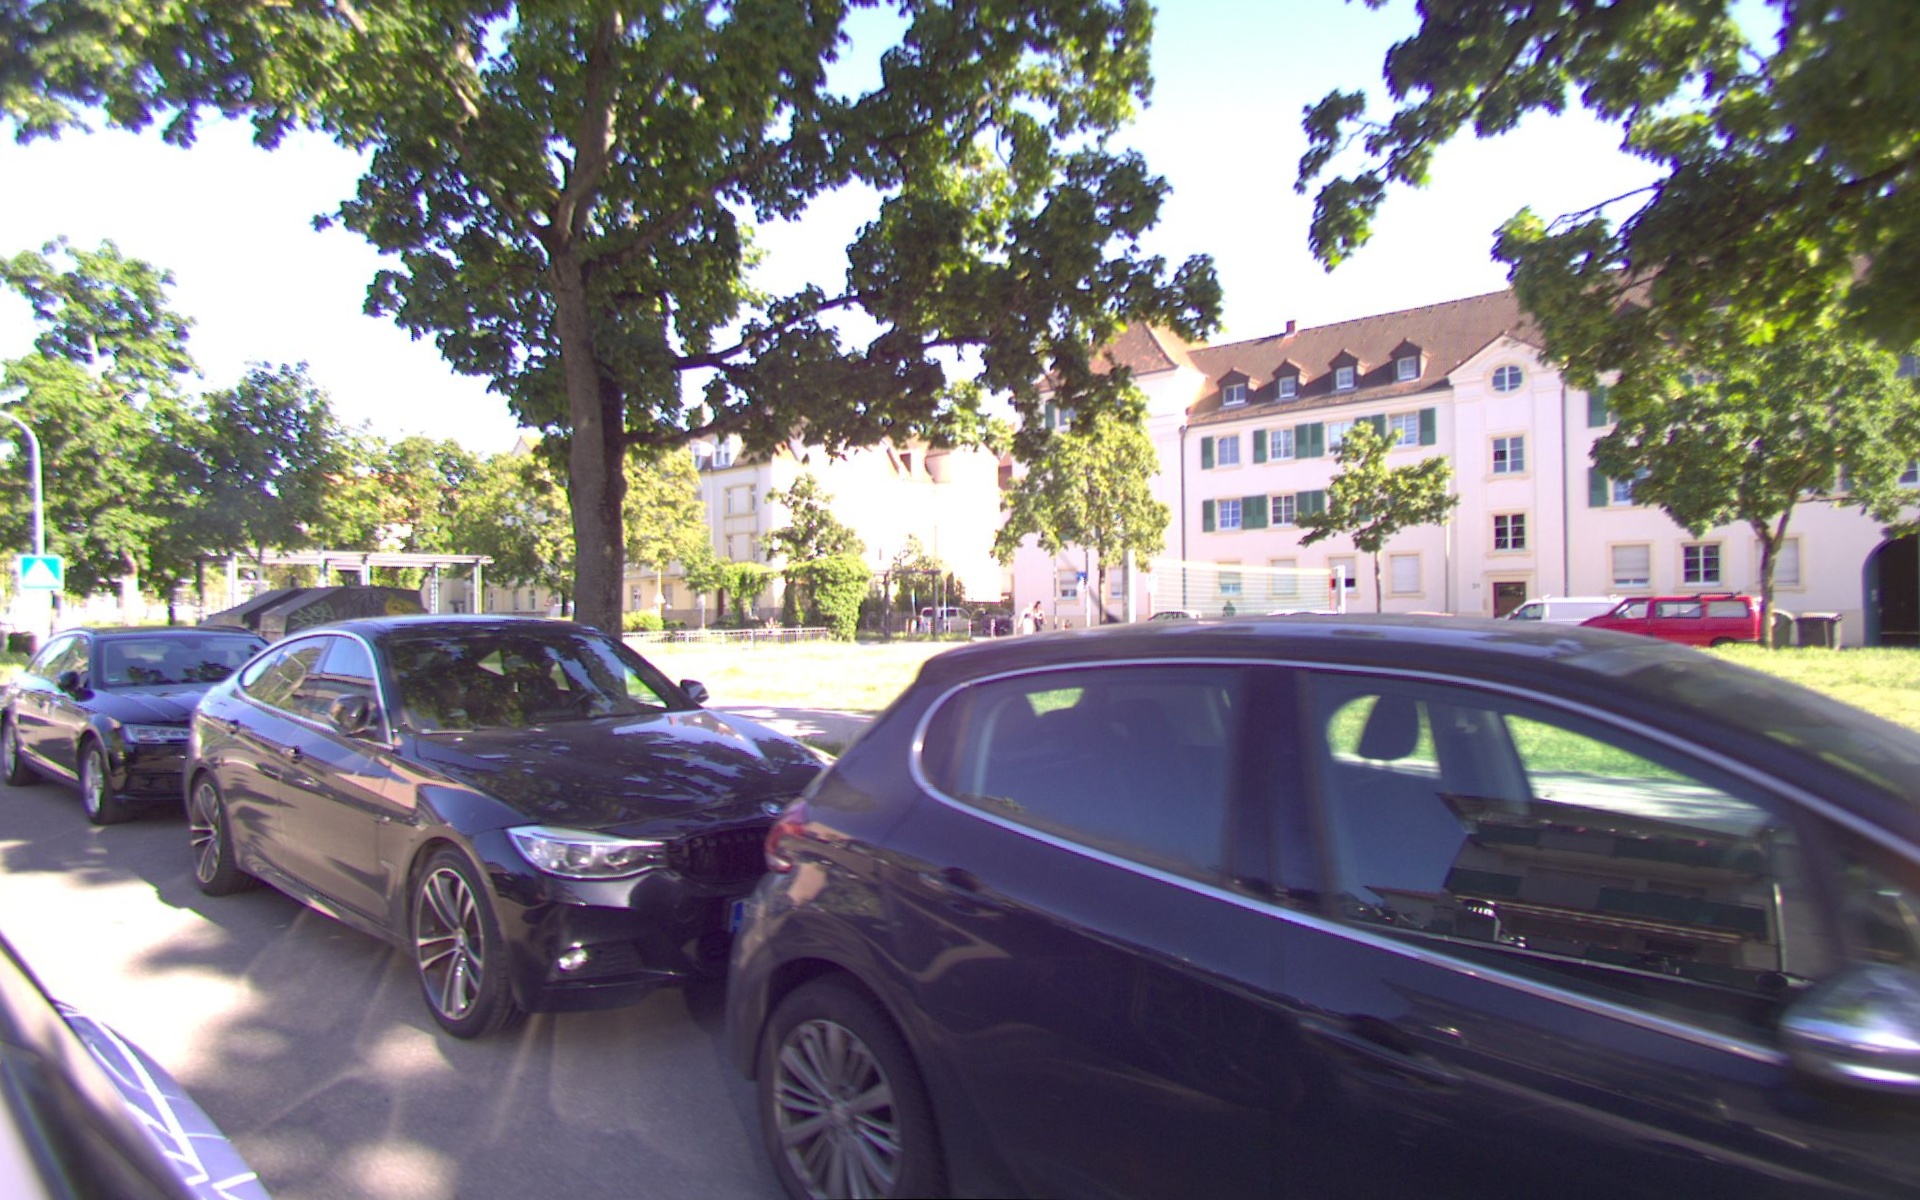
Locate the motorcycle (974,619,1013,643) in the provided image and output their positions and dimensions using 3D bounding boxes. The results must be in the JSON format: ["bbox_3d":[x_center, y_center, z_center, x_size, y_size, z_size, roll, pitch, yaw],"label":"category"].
[{"bbox_3d":[1.897,1.752,57.132,2.142,1.315,0.807,-1,-1,39],"label":"motorcycle"}]

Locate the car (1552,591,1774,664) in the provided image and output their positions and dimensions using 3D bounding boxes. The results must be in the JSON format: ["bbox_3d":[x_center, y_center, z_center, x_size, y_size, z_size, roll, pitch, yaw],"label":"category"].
[{"bbox_3d":[20.884,0.804,30.232,5.250,1.999,2.199,-1,-1,38],"label":"car"}]

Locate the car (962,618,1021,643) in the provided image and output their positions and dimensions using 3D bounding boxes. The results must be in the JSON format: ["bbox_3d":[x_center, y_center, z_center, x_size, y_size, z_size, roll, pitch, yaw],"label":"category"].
[{"bbox_3d":[2.154,2.044,68.416,2.042,1.530,3.763,-2,-1,42],"label":"car"}]

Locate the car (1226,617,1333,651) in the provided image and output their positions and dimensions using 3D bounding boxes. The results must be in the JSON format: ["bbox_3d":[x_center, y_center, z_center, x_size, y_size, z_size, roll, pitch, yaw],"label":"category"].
[{"bbox_3d":[13.651,1.428,43.284,3.996,1.366,1.751,-2,-1,40],"label":"car"}]

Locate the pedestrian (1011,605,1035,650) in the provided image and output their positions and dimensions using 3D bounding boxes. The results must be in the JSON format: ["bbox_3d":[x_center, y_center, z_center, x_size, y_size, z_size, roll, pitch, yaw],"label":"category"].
[{"bbox_3d":[2.405,1.062,38.602,0.750,1.698,0.537,-2,-1,42],"label":"pedestrian"}]

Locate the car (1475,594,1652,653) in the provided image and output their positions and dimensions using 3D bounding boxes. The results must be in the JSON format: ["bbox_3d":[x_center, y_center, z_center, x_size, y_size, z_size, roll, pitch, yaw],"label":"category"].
[{"bbox_3d":[21.732,0.847,36.552,5.250,1.999,2.199,-1,-1,38],"label":"car"}]

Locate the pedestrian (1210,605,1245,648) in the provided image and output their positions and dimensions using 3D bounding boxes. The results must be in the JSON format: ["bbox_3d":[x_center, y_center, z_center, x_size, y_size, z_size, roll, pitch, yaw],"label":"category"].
[{"bbox_3d":[12.508,1.233,47.328,1.161,1.978,1.328,-1,-1,35],"label":"pedestrian"}]

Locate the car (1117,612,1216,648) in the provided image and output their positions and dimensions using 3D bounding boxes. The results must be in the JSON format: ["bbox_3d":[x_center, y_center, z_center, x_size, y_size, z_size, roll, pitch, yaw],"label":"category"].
[{"bbox_3d":[8.222,1.188,40.458,3.511,1.343,1.633,-2,-1,39],"label":"car"}]

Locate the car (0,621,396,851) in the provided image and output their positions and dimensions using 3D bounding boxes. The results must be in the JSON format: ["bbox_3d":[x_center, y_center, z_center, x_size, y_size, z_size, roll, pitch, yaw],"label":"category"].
[{"bbox_3d":[-6.933,0.931,8.787,4.962,1.463,1.817,-1,-1,38],"label":"car"}]

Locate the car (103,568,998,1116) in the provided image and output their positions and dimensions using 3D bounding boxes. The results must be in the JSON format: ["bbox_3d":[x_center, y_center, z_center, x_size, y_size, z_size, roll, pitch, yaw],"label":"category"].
[{"bbox_3d":[-2.457,0.749,5.219,5.151,1.528,1.974,-1,-2,38],"label":"car"}]

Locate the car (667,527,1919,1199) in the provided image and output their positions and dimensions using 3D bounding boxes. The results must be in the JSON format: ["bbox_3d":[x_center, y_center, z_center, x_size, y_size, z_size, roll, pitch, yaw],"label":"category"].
[{"bbox_3d":[1.337,0.659,1.866,3.802,1.429,1.860,0,-1,41],"label":"car"}]

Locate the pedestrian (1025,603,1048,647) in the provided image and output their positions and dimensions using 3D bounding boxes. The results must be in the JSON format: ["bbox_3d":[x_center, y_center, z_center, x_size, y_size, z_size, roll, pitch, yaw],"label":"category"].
[{"bbox_3d":[2.956,0.971,39.056,0.537,1.698,0.674,0,-2,-45],"label":"pedestrian"}]

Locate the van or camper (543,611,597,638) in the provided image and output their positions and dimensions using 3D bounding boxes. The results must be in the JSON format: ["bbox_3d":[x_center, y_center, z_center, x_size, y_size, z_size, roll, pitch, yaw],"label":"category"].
[{"bbox_3d":[-31.386,1.946,81.409,4.371,2.029,2.244,-1,-1,41],"label":"van or camper"}]

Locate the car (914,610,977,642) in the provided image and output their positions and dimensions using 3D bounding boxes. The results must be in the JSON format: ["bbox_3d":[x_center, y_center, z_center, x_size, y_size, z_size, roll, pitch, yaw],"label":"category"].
[{"bbox_3d":[-0.922,1.678,65.028,2.042,1.970,3.763,-2,-1,42],"label":"car"}]

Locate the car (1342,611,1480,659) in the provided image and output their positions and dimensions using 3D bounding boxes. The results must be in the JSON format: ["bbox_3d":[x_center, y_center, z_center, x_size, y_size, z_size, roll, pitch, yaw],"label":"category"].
[{"bbox_3d":[17.732,1.357,39.908,4.638,1.777,1.974,-1,-1,38],"label":"car"}]

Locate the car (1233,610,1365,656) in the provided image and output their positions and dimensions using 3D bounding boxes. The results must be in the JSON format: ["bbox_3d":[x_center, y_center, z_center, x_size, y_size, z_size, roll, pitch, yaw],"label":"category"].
[{"bbox_3d":[12.391,1.198,37.111,4.231,1.595,1.771,-1,-1,39],"label":"car"}]
